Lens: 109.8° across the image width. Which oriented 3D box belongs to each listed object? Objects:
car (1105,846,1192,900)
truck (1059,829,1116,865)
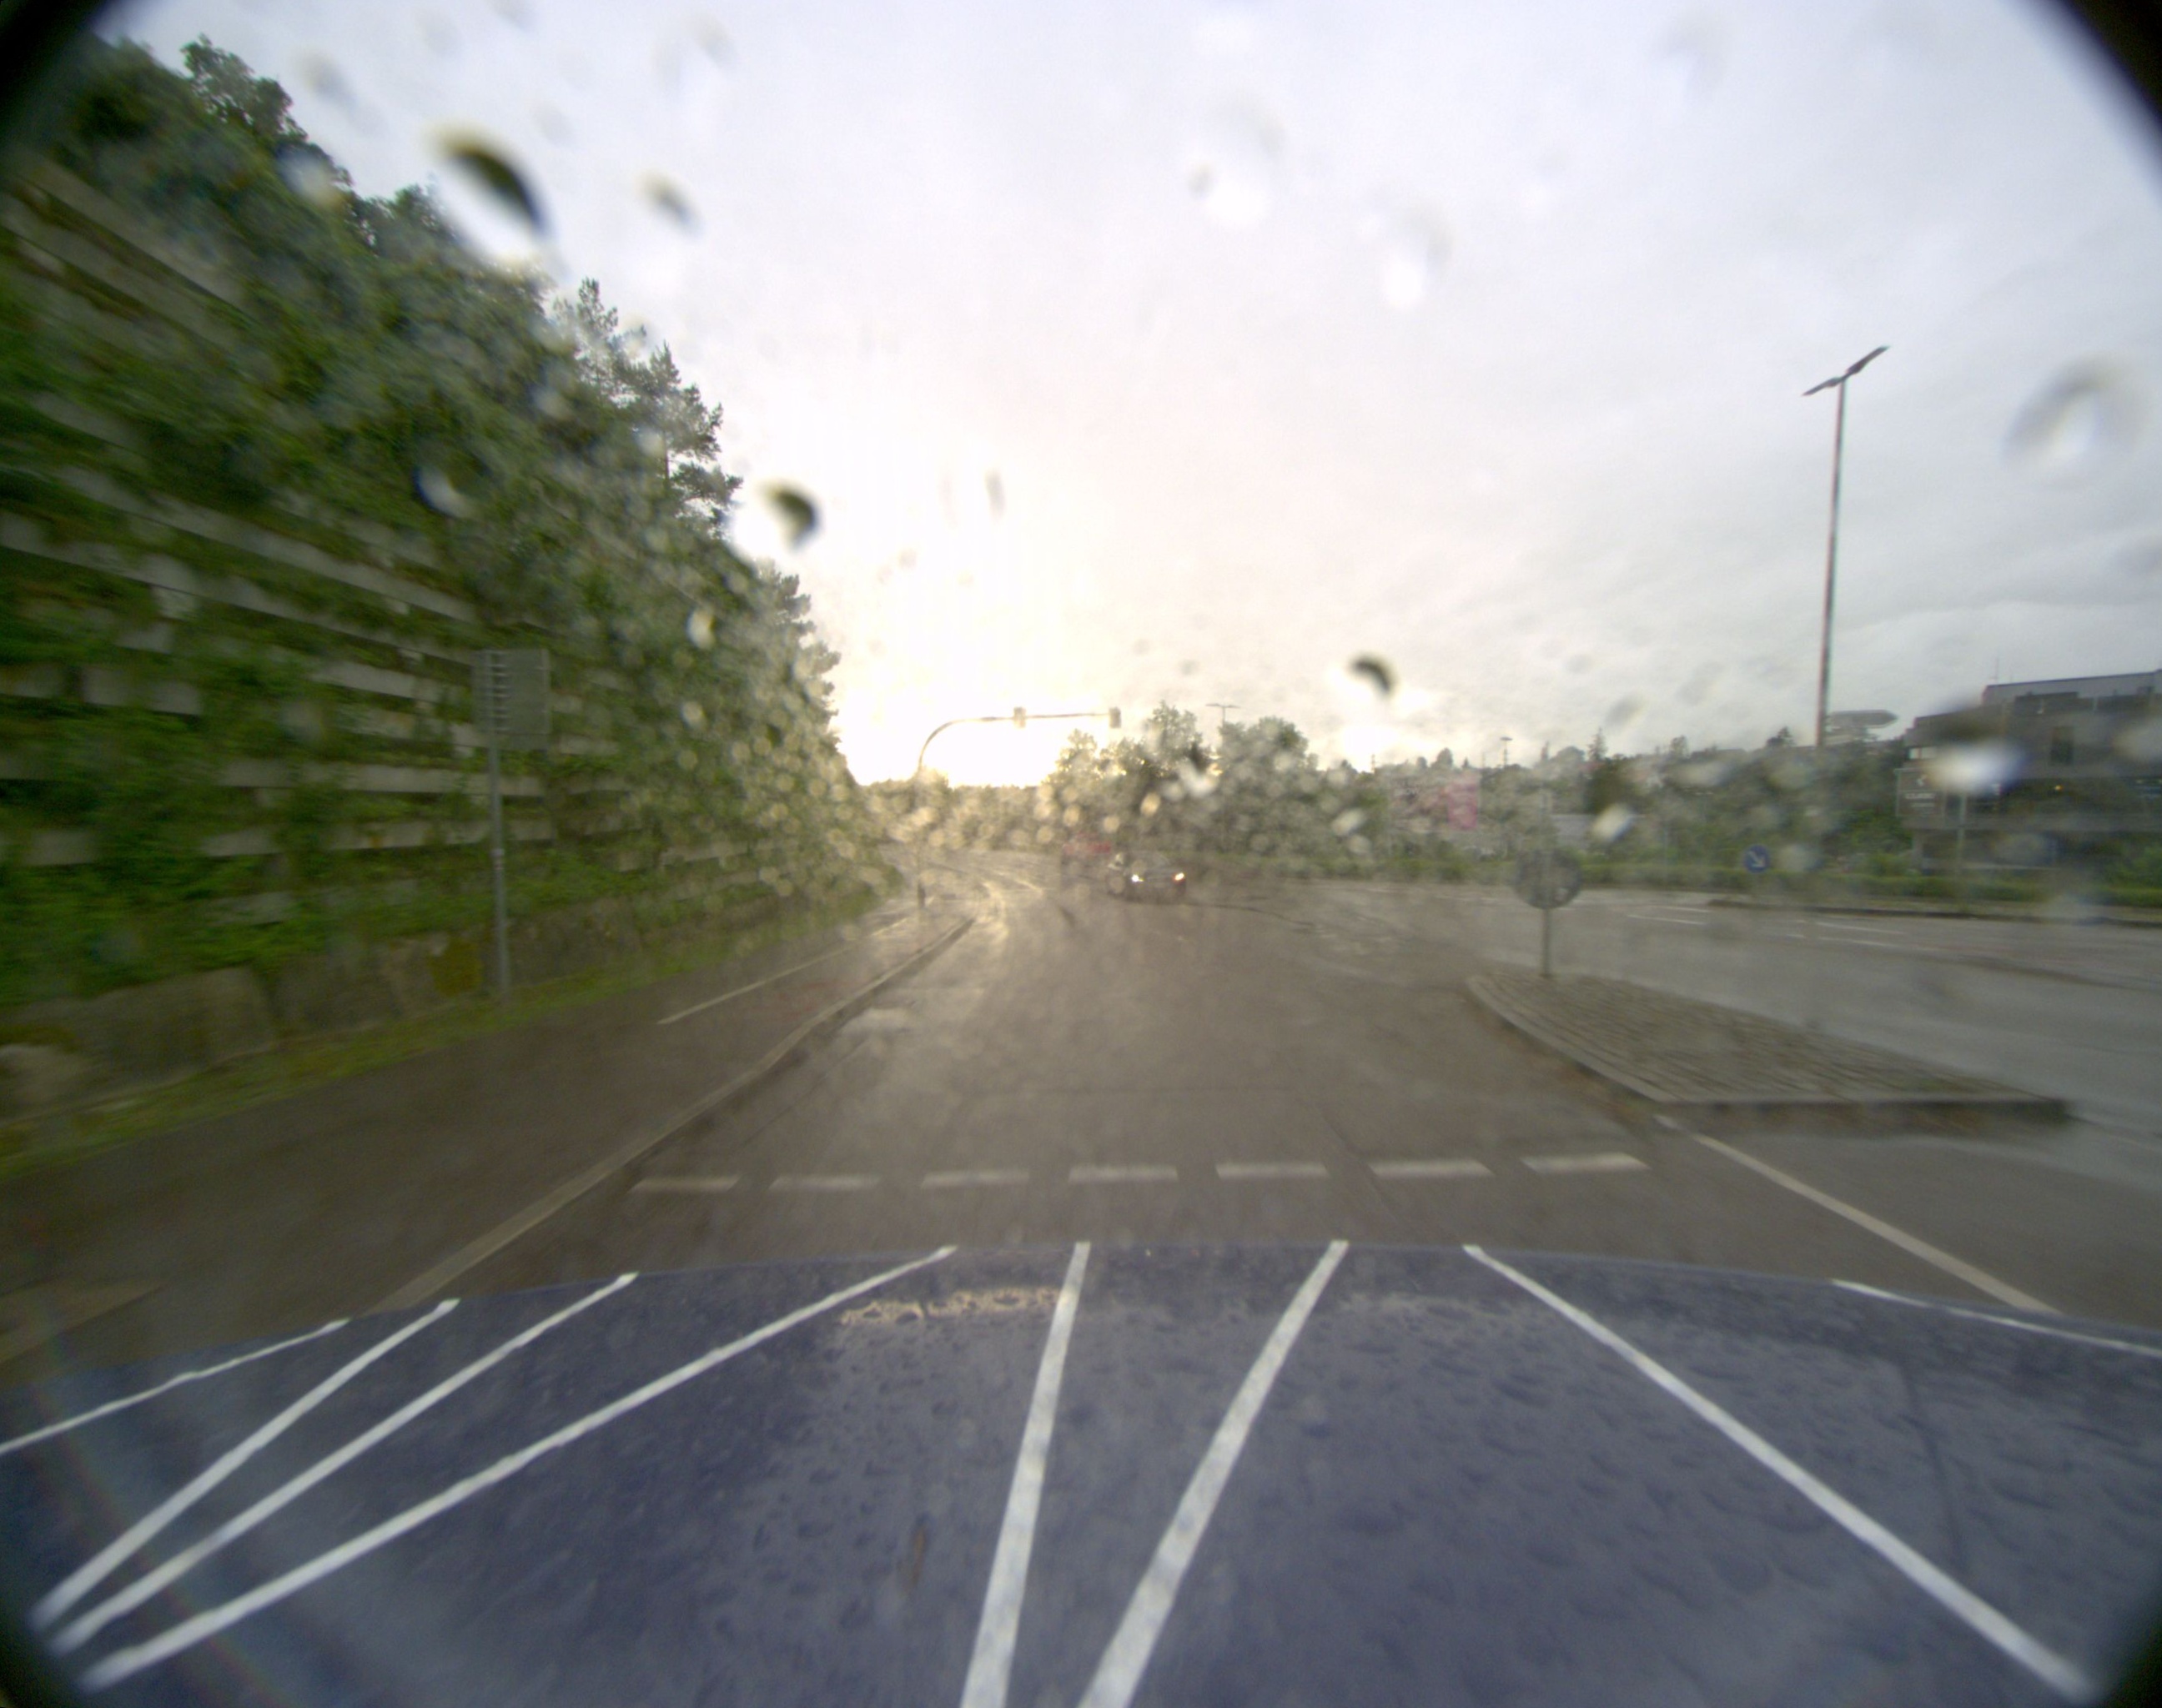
[{"bbox_3d":[1.984,0.527,23.569,1.760,1.388,3.995,-2,2,-9],"label":"car"},{"bbox_3d":[0.304,-0.482,46.690,2.001,2.003,5.328,-2,3,-16],"label":"truck"}]
